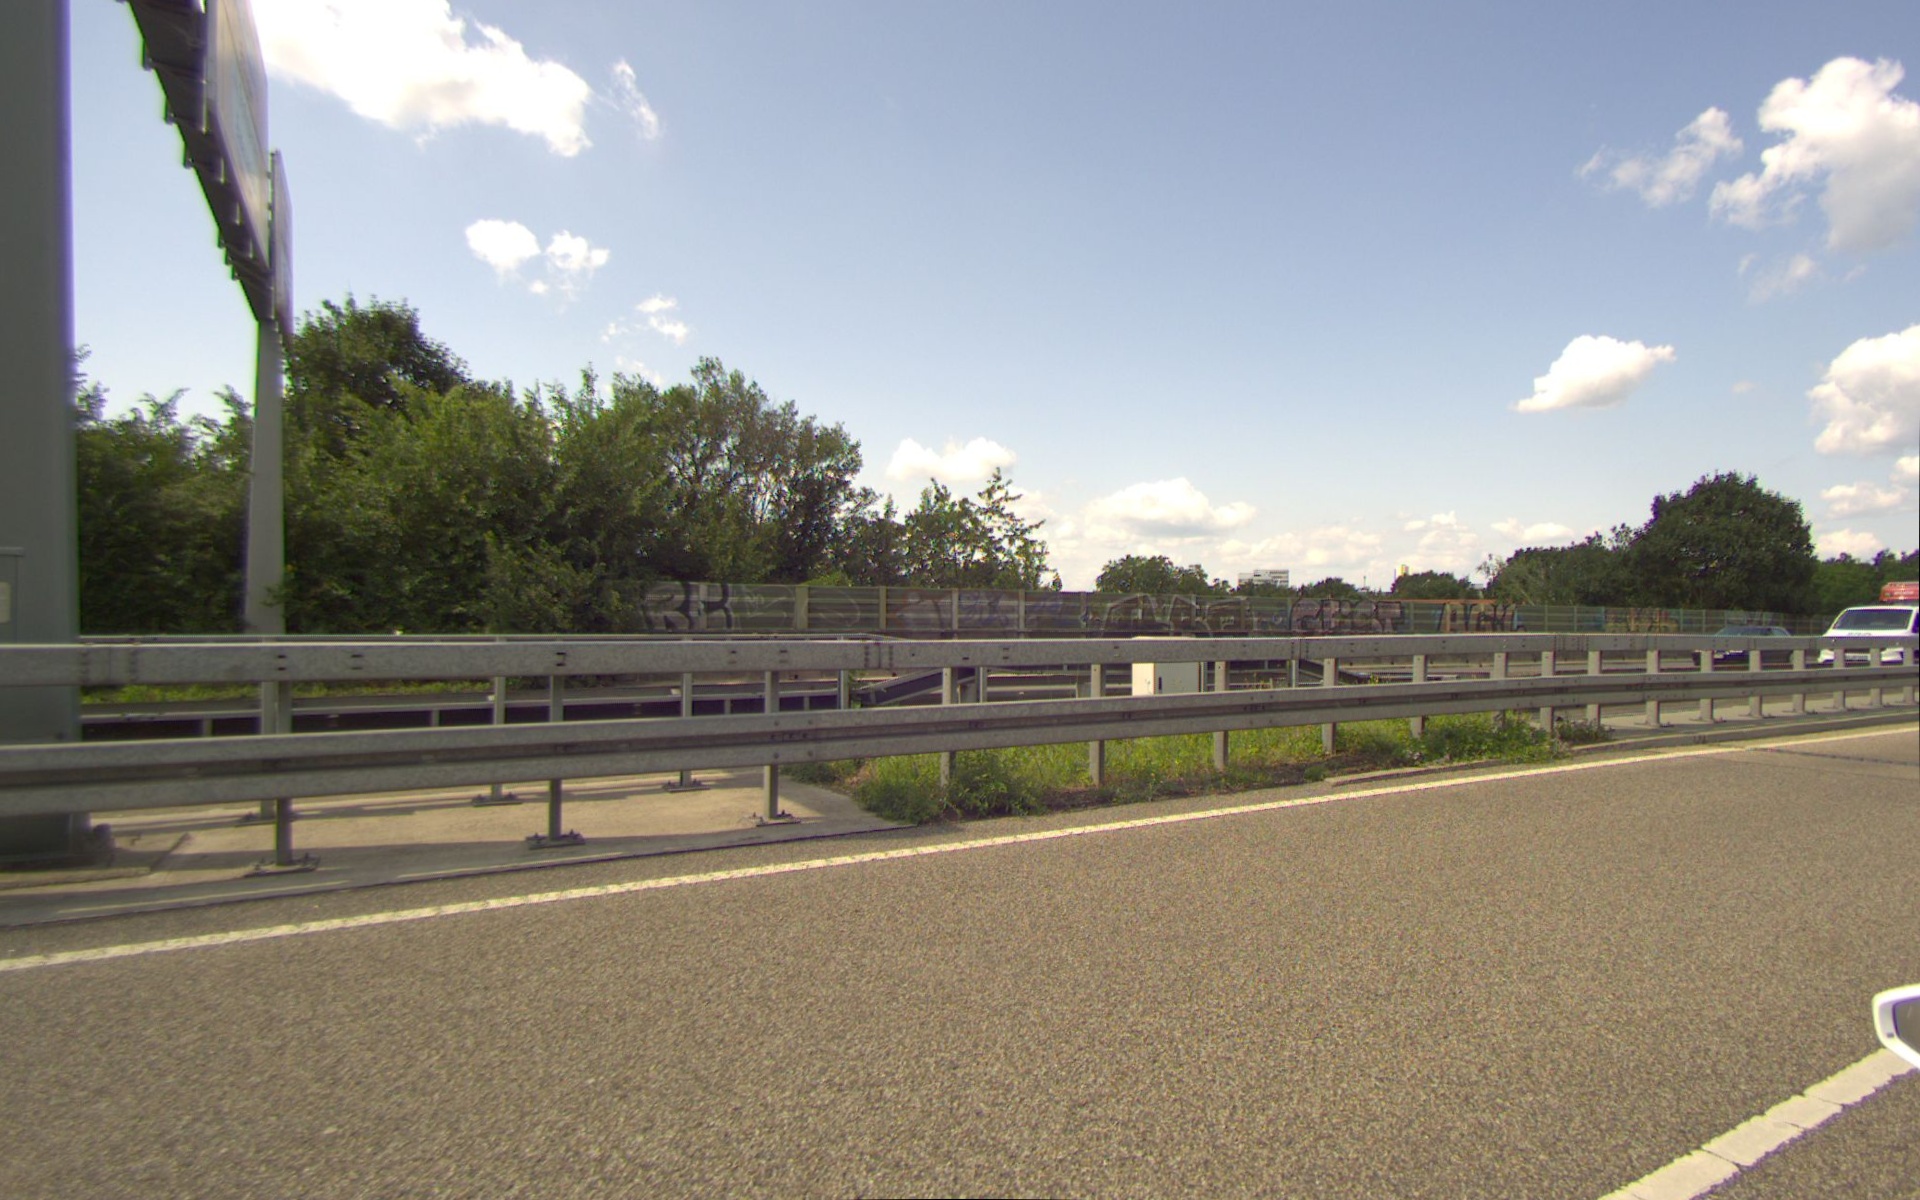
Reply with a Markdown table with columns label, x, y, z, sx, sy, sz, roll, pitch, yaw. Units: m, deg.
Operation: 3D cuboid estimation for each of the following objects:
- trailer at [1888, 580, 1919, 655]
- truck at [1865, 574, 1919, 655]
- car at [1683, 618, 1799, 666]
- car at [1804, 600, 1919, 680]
| label | x | y | z | sx | sy | sz | roll | pitch | yaw |
| --- | --- | --- | --- | --- | --- | --- | --- | --- | --- |
| trailer | 52.589 | 0.995 | 52.848 | 10.905 | 3.719 | 2.670 | 2 | 1 | -32 |
| truck | 47.605 | 0.734 | 49.643 | 6.164 | 3.833 | 2.633 | 2 | 1 | -32 |
| car | 26.179 | 1.398 | 33.634 | 4.355 | 1.451 | 1.679 | 2 | 1 | -33 |
| car | 25.946 | 1.098 | 28.128 | 5.173 | 2.015 | 2.067 | 2 | 1 | -33 |
